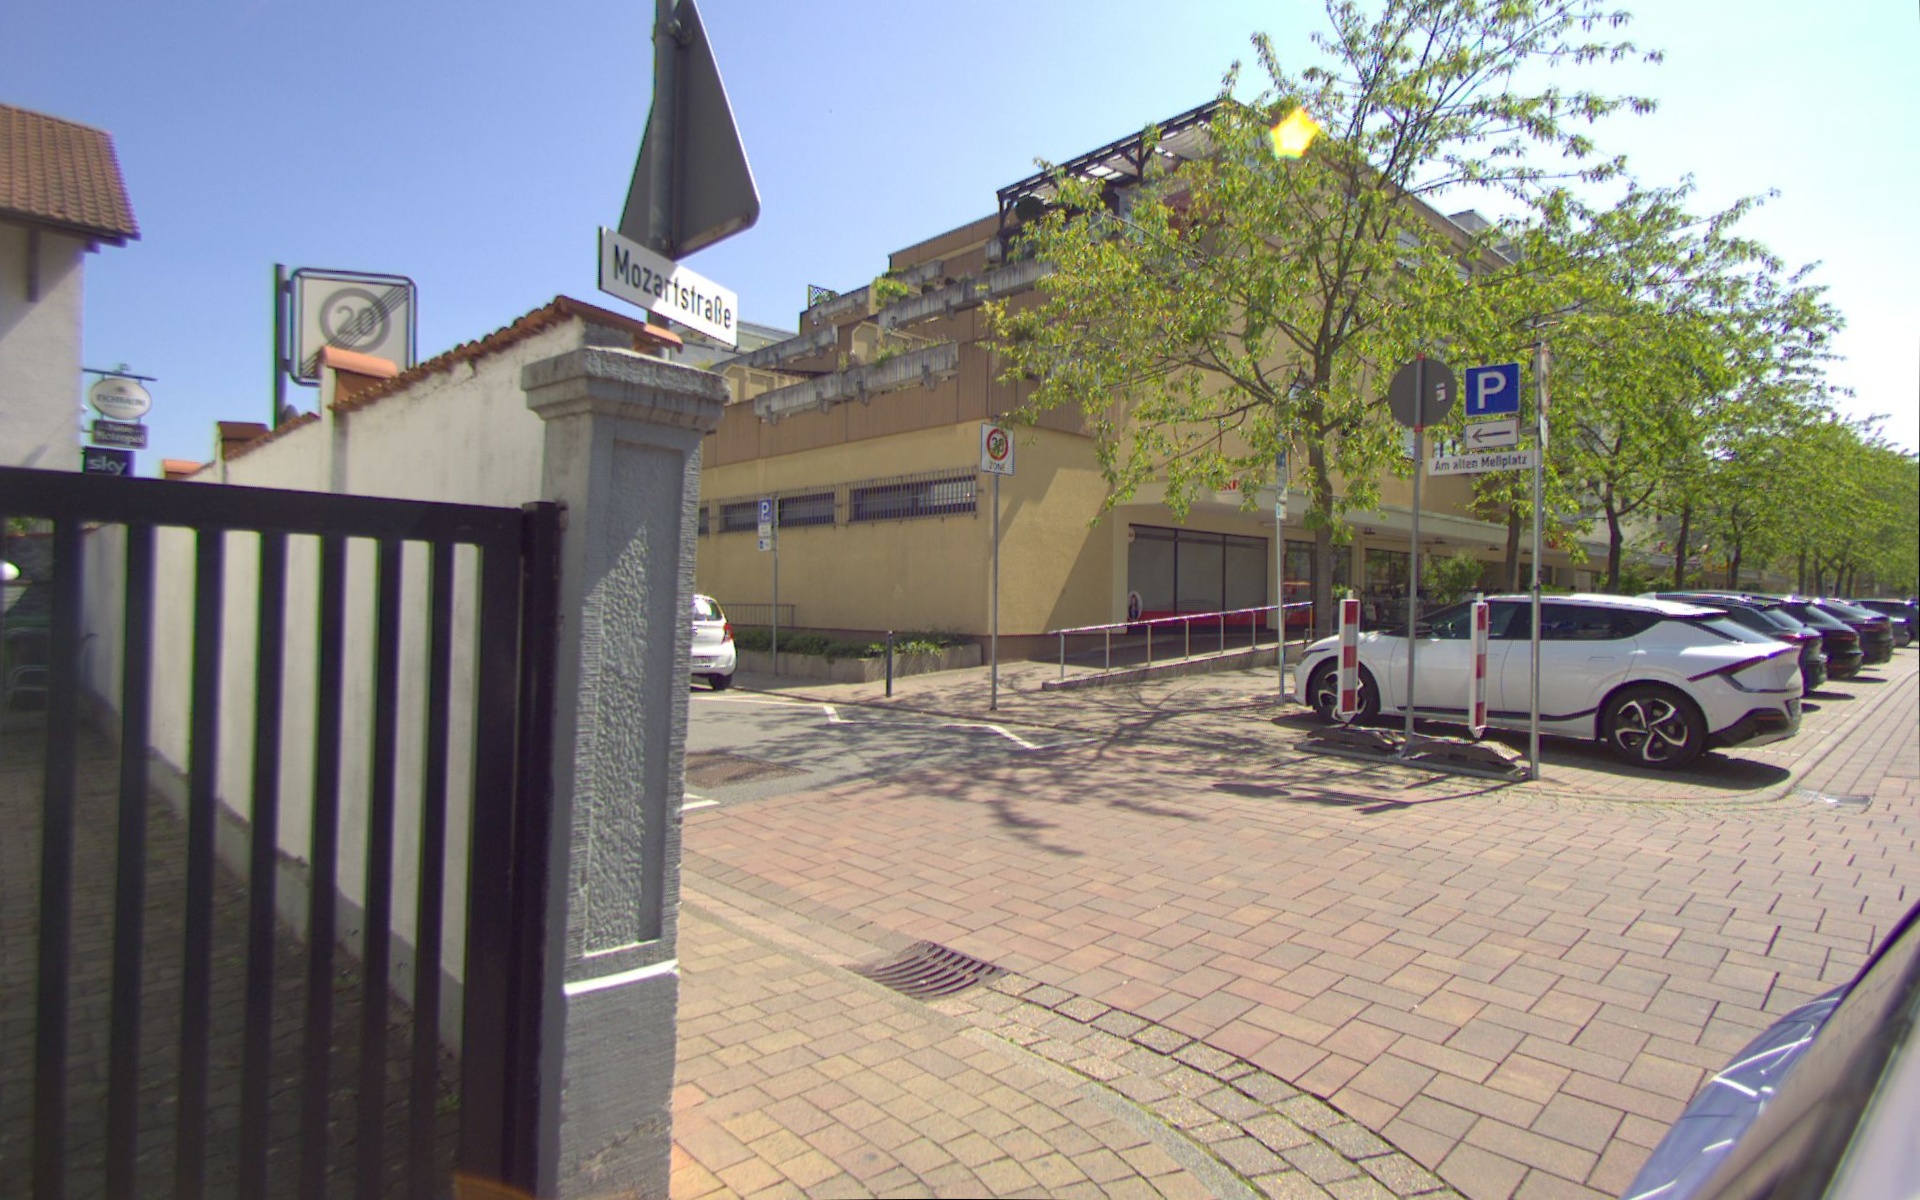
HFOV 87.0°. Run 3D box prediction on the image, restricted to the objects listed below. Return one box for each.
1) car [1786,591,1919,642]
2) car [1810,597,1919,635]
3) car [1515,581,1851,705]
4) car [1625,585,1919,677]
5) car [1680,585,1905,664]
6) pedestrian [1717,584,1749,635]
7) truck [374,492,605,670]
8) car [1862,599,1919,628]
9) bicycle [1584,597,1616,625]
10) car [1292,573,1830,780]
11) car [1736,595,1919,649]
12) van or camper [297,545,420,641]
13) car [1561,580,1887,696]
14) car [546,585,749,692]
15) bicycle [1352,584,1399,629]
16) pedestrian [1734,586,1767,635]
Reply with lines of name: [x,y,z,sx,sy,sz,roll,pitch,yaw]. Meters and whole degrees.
car: [32.204,0.558,35.956,1.728,1.638,4.248,0,2,-44]
car: [40.083,0.674,44.005,1.776,1.563,4.580,1,-1,-42]
car: [11.062,0.547,15.672,1.794,1.553,3.948,0,2,-44]
car: [16.722,0.554,21.038,1.818,1.608,4.517,1,1,-41]
car: [20.044,0.512,24.495,1.653,1.632,4.031,0,2,-44]
pedestrian: [27.289,0.334,35.720,0.621,1.796,0.685,0,-1,9]
truck: [-9.688,-0.348,20.464,2.501,3.043,6.394,1,0,-42]
car: [49.157,0.728,52.469,1.435,1.407,3.397,1,2,-42]
bicycle: [25.834,0.419,40.846,1.835,1.095,0.642,-1,0,-44]
car: [5.942,0.582,10.470,1.758,1.595,4.446,1,2,-43]
car: [27.634,0.658,32.197,4.348,1.481,1.872,2,1,29]
van or camper: [-17.135,-0.211,28.737,2.034,2.509,4.662,0,0,-43]
car: [13.112,0.547,17.547,1.968,1.702,4.281,0,1,-45]
car: [-4.966,0.526,15.840,1.627,1.470,3.618,1,0,-43]
bicycle: [10.919,0.156,26.560,1.744,1.138,0.413,0,-1,-42]
pedestrian: [28.485,0.387,36.473,0.634,1.753,0.617,-1,-1,-9]
